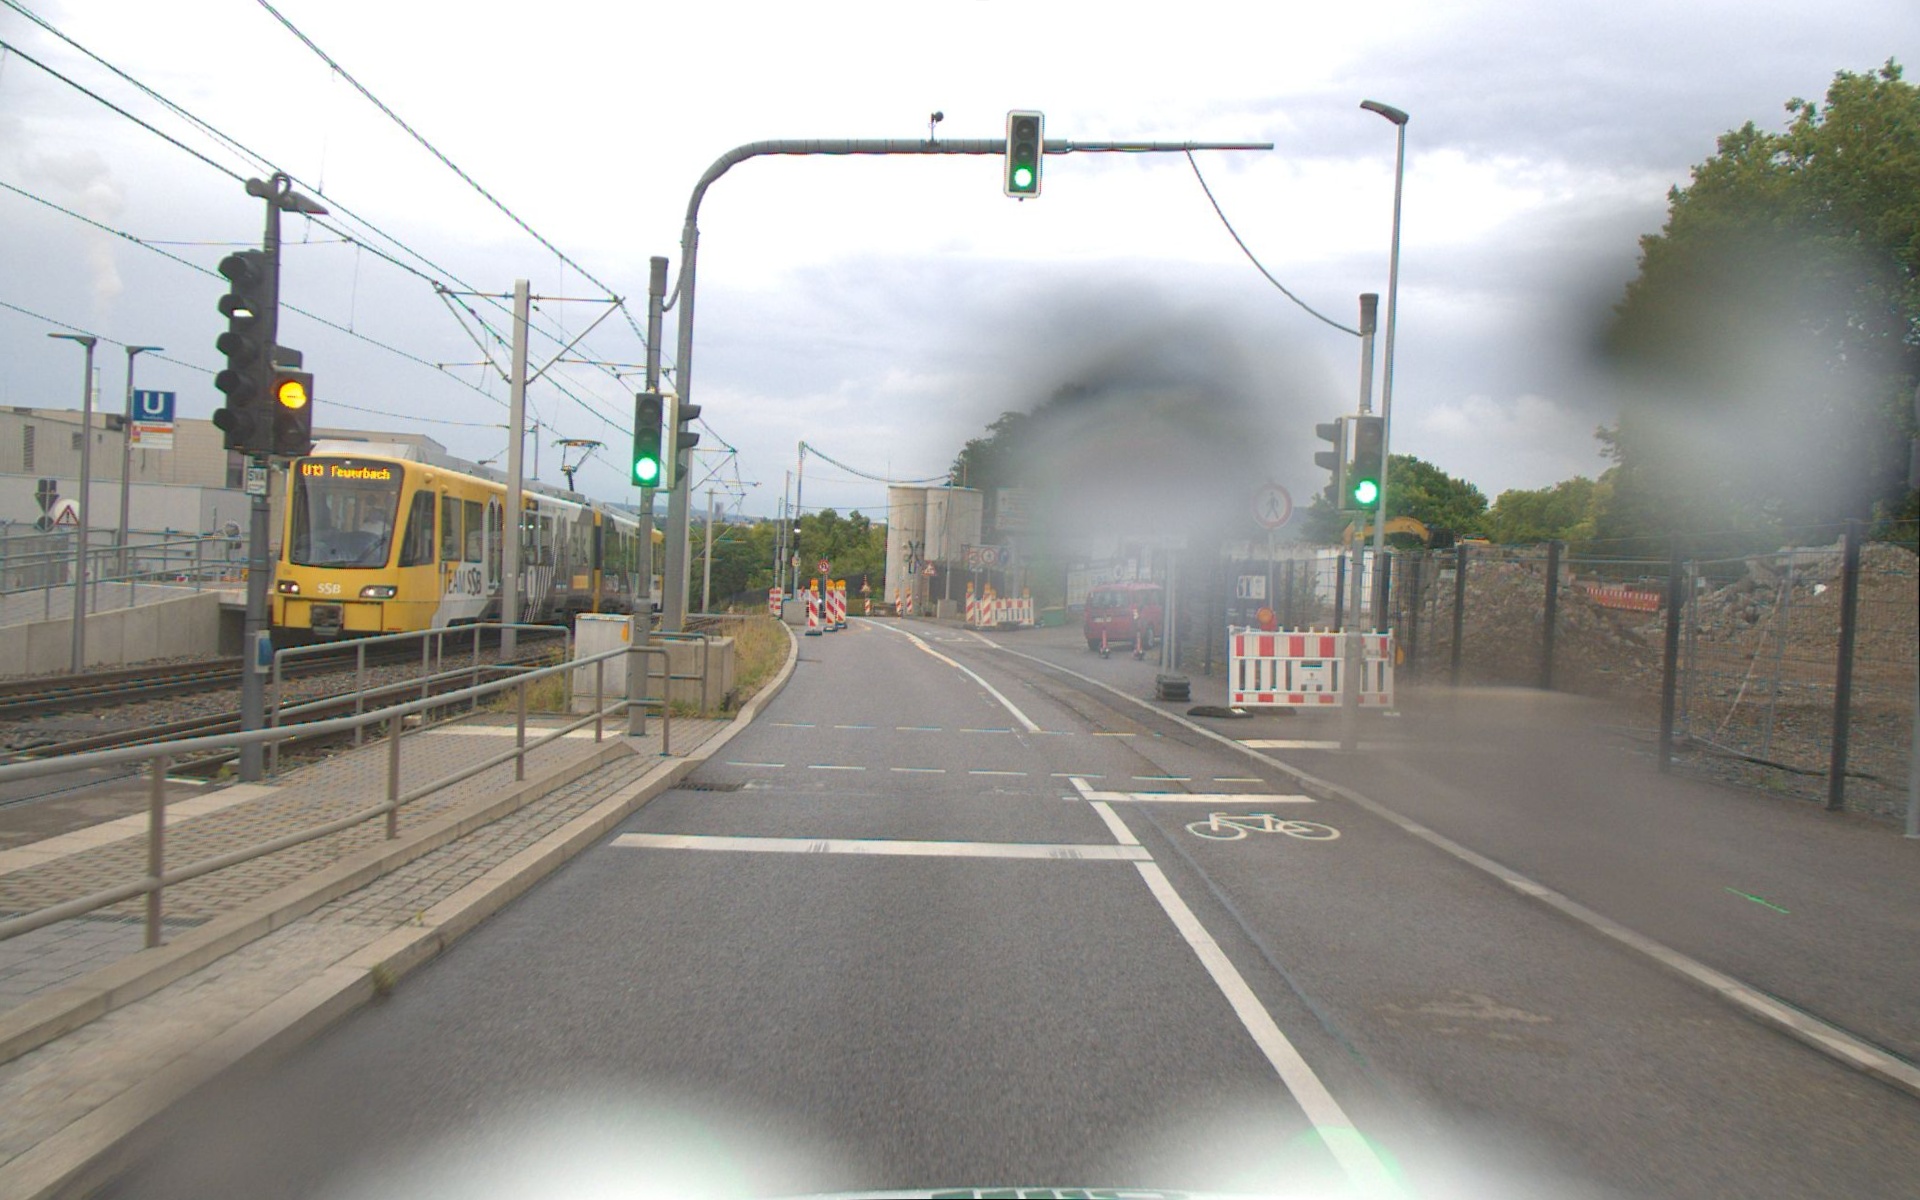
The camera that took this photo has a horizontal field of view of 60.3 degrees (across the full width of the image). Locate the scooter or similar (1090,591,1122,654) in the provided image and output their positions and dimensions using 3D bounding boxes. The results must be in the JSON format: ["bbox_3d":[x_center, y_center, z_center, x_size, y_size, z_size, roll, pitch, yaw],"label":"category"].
[{"bbox_3d":[3.312,0.495,37.692,0.602,1.375,1.913,2,1,2],"label":"scooter or similar"}]

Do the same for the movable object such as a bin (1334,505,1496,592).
[{"bbox_3d":[33.561,-3.759,122.321,10.996,6.100,3.493,1,0,4],"label":"movable object such as a bin"}]

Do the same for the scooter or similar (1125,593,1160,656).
[{"bbox_3d":[4.108,0.535,37.366,0.602,1.375,1.913,2,1,2],"label":"scooter or similar"}]

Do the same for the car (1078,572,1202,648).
[{"bbox_3d":[4.759,0.243,43.290,1.784,1.825,4.404,2,1,26],"label":"car"}]

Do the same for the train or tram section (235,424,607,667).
[{"bbox_3d":[-11.165,-1.013,37.649,2.896,3.953,19.561,3,0,-3],"label":"train or tram section"}]

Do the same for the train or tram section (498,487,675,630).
[{"bbox_3d":[-12.352,-1.289,57.035,2.897,3.953,19.275,3,0,-4],"label":"train or tram section"}]
